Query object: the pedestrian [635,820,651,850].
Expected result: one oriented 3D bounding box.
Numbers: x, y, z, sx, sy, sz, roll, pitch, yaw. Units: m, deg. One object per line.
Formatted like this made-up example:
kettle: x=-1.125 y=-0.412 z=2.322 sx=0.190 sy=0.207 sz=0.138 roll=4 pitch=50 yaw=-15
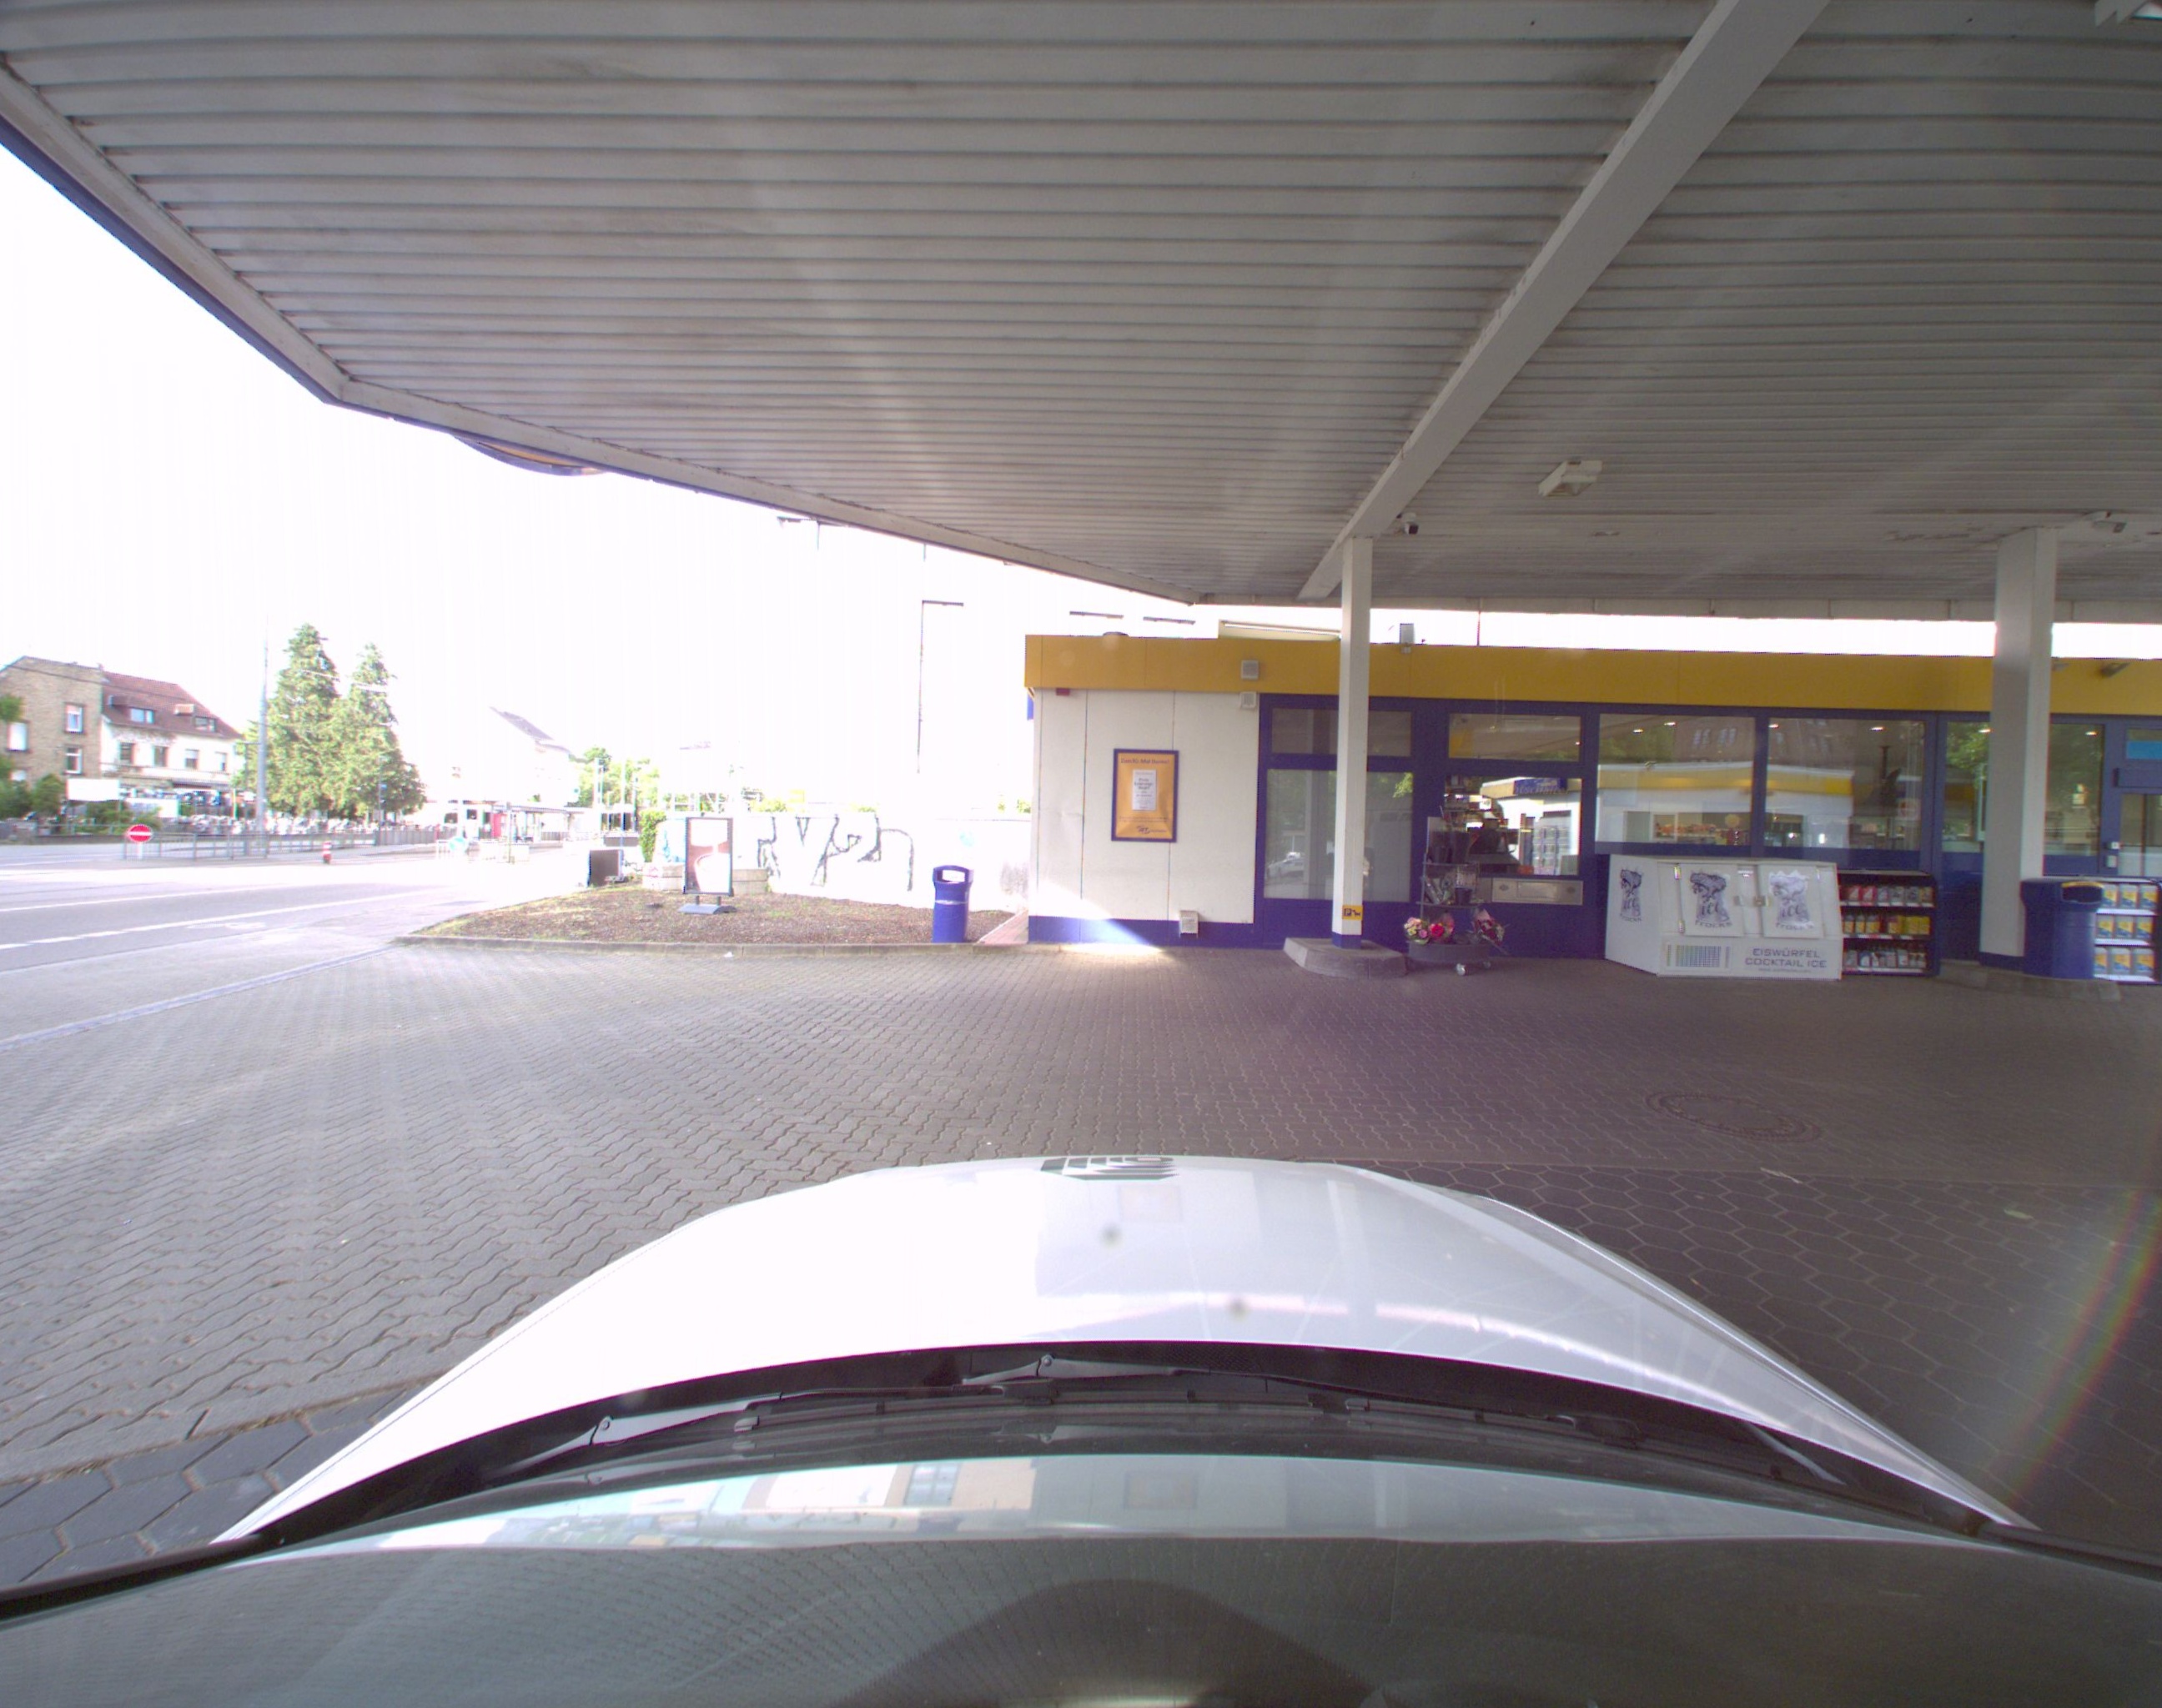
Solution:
pedestrian: x=-30.313 y=-1.313 z=56.360 sx=0.807 sy=2.014 sz=0.846 roll=0 pitch=-1 yaw=-14
